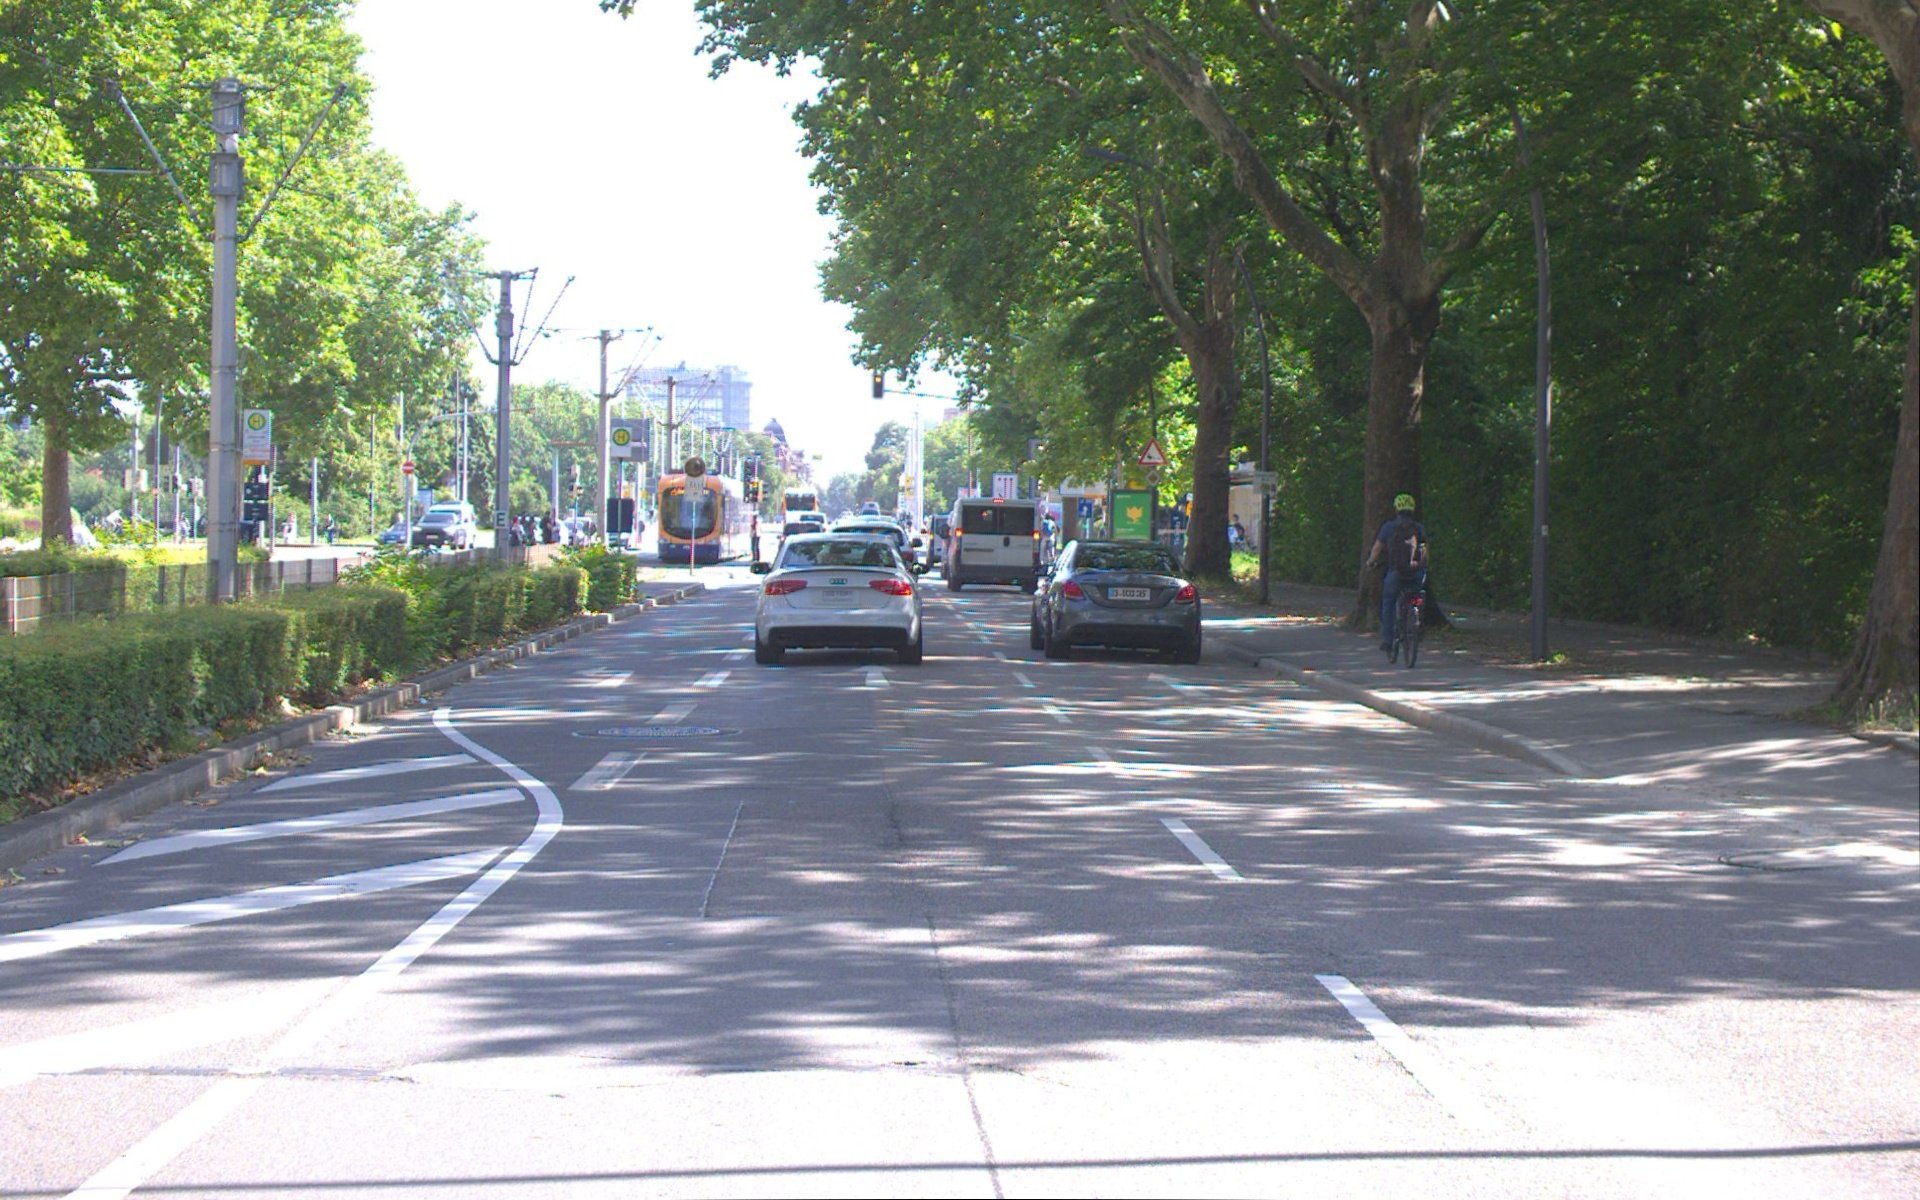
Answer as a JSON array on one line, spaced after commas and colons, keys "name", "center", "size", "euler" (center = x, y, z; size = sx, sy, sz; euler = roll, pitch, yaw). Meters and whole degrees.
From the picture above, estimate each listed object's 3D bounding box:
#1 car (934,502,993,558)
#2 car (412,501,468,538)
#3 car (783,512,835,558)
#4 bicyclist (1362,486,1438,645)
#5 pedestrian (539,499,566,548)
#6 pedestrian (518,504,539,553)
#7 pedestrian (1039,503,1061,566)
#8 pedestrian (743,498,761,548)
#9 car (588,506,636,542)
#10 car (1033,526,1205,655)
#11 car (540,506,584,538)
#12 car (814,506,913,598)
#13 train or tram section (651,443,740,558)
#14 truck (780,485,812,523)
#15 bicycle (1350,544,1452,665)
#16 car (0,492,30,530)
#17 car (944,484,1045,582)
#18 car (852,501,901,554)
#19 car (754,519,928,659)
[{"name": "car", "center": [0.127, -2.613, 127.903], "size": [2.072, 1.992, 4.058], "euler": [1, 1, -1]}, {"name": "car", "center": [-23.185, -3.596, 153.357], "size": [1.830, 1.618, 4.897], "euler": [1, 1, -1]}, {"name": "car", "center": [-5.476, -2.375, 124.895], "size": [1.729, 1.625, 4.000], "euler": [1, 1, -1]}, {"name": "bicyclist", "center": [4.695, -0.374, 36.711], "size": [0.634, 1.642, 0.979], "euler": [-1, 3, -2]}, {"name": "pedestrian", "center": [-14.692, -2.756, 123.913], "size": [0.775, 1.728, 0.754], "euler": [2, 1, 8]}, {"name": "pedestrian", "center": [-14.680, -2.447, 117.006], "size": [0.593, 1.641, 0.554], "euler": [1, 1, -1]}, {"name": "pedestrian", "center": [2.802, -2.048, 107.170], "size": [0.635, 1.939, 0.719], "euler": [1, 1, -1]}, {"name": "pedestrian", "center": [-8.124, -2.998, 134.019], "size": [0.624, 1.911, 0.690], "euler": [1, 1, -1]}, {"name": "car", "center": [-17.579, -3.844, 173.738], "size": [1.993, 1.728, 4.000], "euler": [1, 1, -1]}, {"name": "car", "center": [1.864, -0.152, 41.350], "size": [1.782, 1.415, 4.000], "euler": [1, 1, -1]}, {"name": "car", "center": [-21.039, -4.129, 181.975], "size": [1.871, 1.603, 4.000], "euler": [1, 1, -1]}, {"name": "car", "center": [-1.748, -0.895, 63.073], "size": [1.729, 1.599, 3.885], "euler": [1, 1, -1]}, {"name": "train or tram section", "center": [-9.634, -3.614, 125.845], "size": [2.616, 4.001, 7.749], "euler": [1, 1, -1]}, {"name": "truck", "center": [-12.420, -7.283, 260.919], "size": [1.993, 2.780, 8.519], "euler": [1, 1, -1]}, {"name": "bicycle", "center": [4.702, 0.028, 36.786], "size": [0.714, 1.144, 2.179], "euler": [-1, 3, -2]}, {"name": "car", "center": [-41.208, -3.778, 144.329], "size": [3.847, 1.543, 1.770], "euler": [1, 1, -1]}, {"name": "car", "center": [0.798, -1.594, 81.632], "size": [2.230, 2.204, 4.162], "euler": [1, 1, -1]}, {"name": "car", "center": [-3.057, -2.690, 127.019], "size": [1.729, 1.895, 4.000], "euler": [1, 1, -1]}, {"name": "car", "center": [-1.276, -0.157, 37.853], "size": [1.784, 1.416, 3.885], "euler": [1, 1, -1]}]
